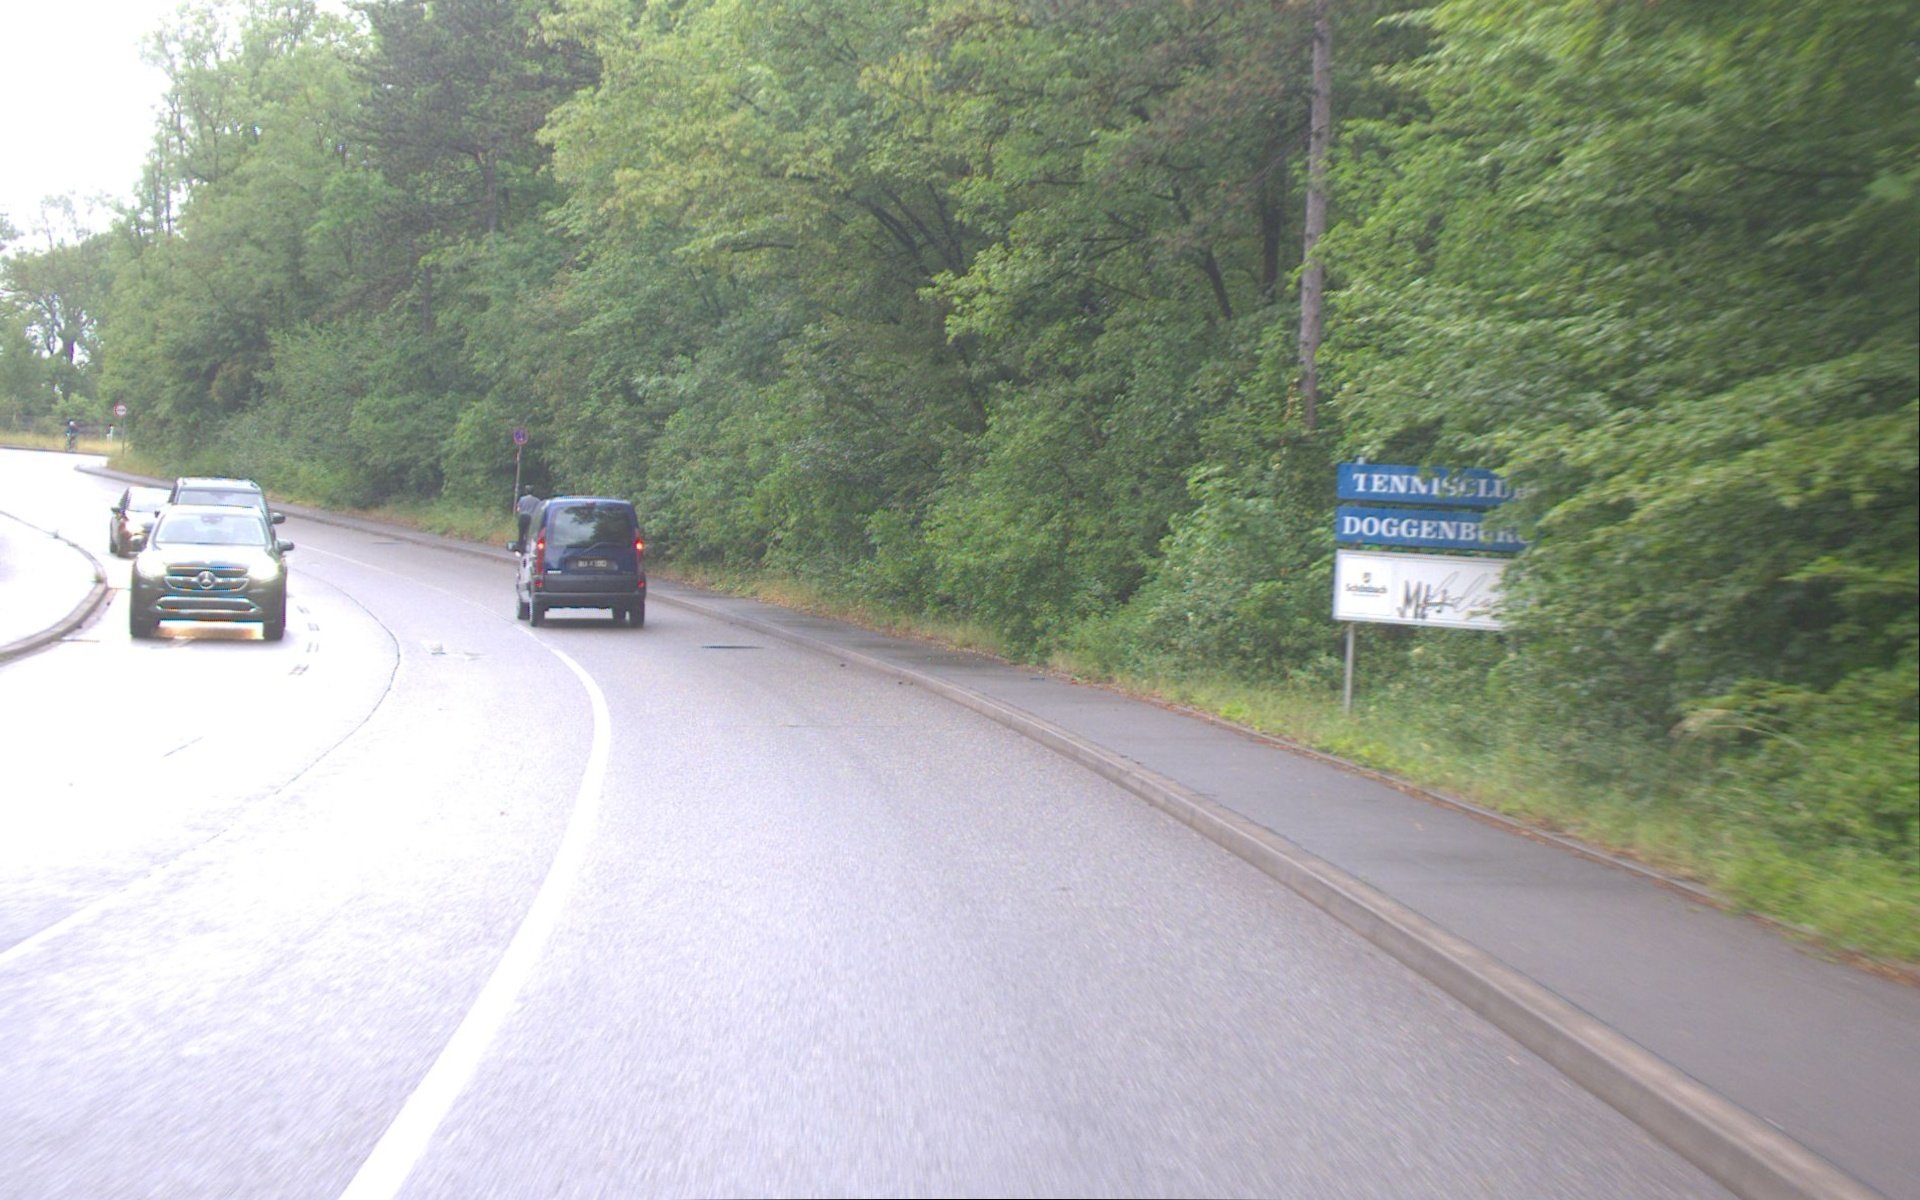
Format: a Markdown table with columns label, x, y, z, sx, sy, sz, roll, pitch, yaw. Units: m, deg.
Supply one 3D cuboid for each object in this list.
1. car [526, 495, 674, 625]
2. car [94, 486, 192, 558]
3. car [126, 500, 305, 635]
| label | x | y | z | sx | sy | sz | roll | pitch | yaw |
| --- | --- | --- | --- | --- | --- | --- | --- | --- | --- |
| car | -5.260 | -0.605 | 49.869 | 1.826 | 1.787 | 4.001 | 0 | 1 | -10 |
| car | -17.500 | -1.666 | 73.515 | 1.826 | 1.435 | 4.001 | 2 | 1 | -16 |
| car | -9.504 | -0.450 | 44.178 | 1.808 | 1.589 | 4.519 | 2 | 1 | -7 |
